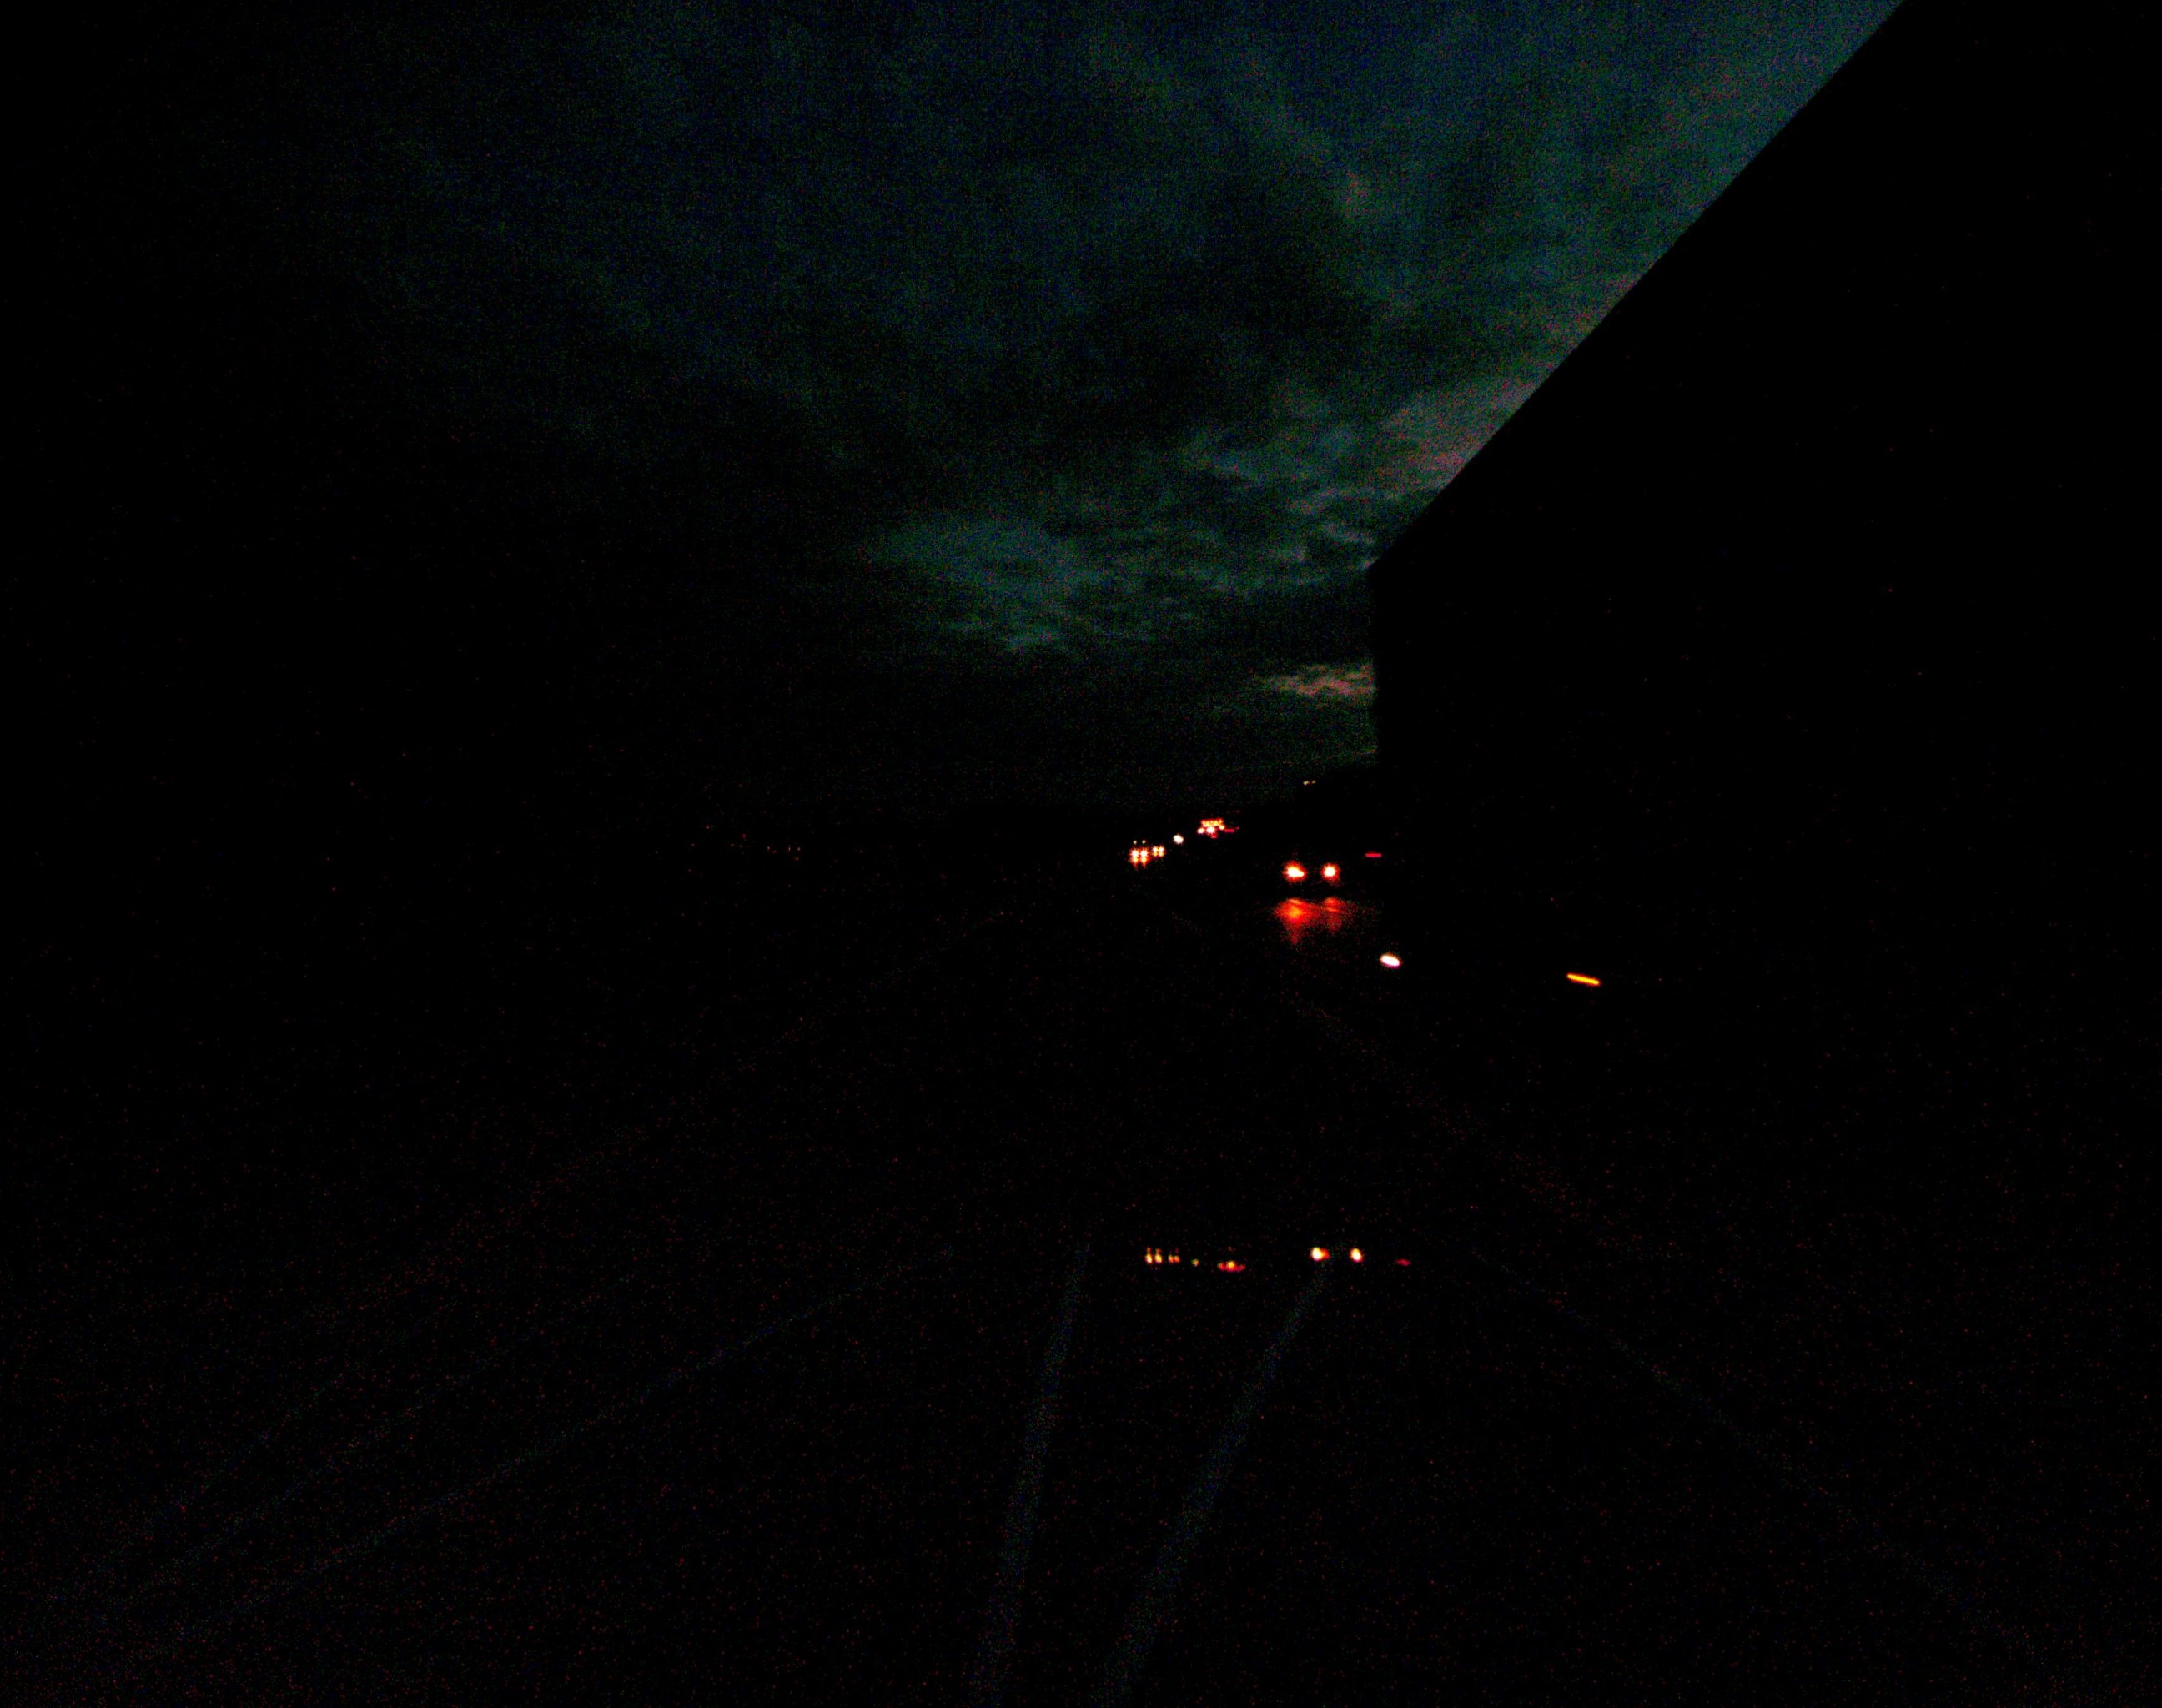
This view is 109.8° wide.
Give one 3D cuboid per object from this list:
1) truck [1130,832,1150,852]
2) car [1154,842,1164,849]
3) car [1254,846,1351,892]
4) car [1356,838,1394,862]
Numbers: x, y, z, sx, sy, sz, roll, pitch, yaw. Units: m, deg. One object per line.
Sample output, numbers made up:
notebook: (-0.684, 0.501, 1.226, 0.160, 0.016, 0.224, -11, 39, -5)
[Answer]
truck: (13.151, -2.605, 170.633, 3.353, 4.293, 11.322, -2, 1, -1)
car: (21.889, -2.412, 213.297, 1.999, 2.002, 3.999, -2, 1, -1)
car: (8.080, 0.499, 28.230, 1.999, 1.489, 4.547, -2, 0, -4)
car: (25.965, -0.386, 67.279, 1.998, 2.002, 4.000, -1, 0, 3)
